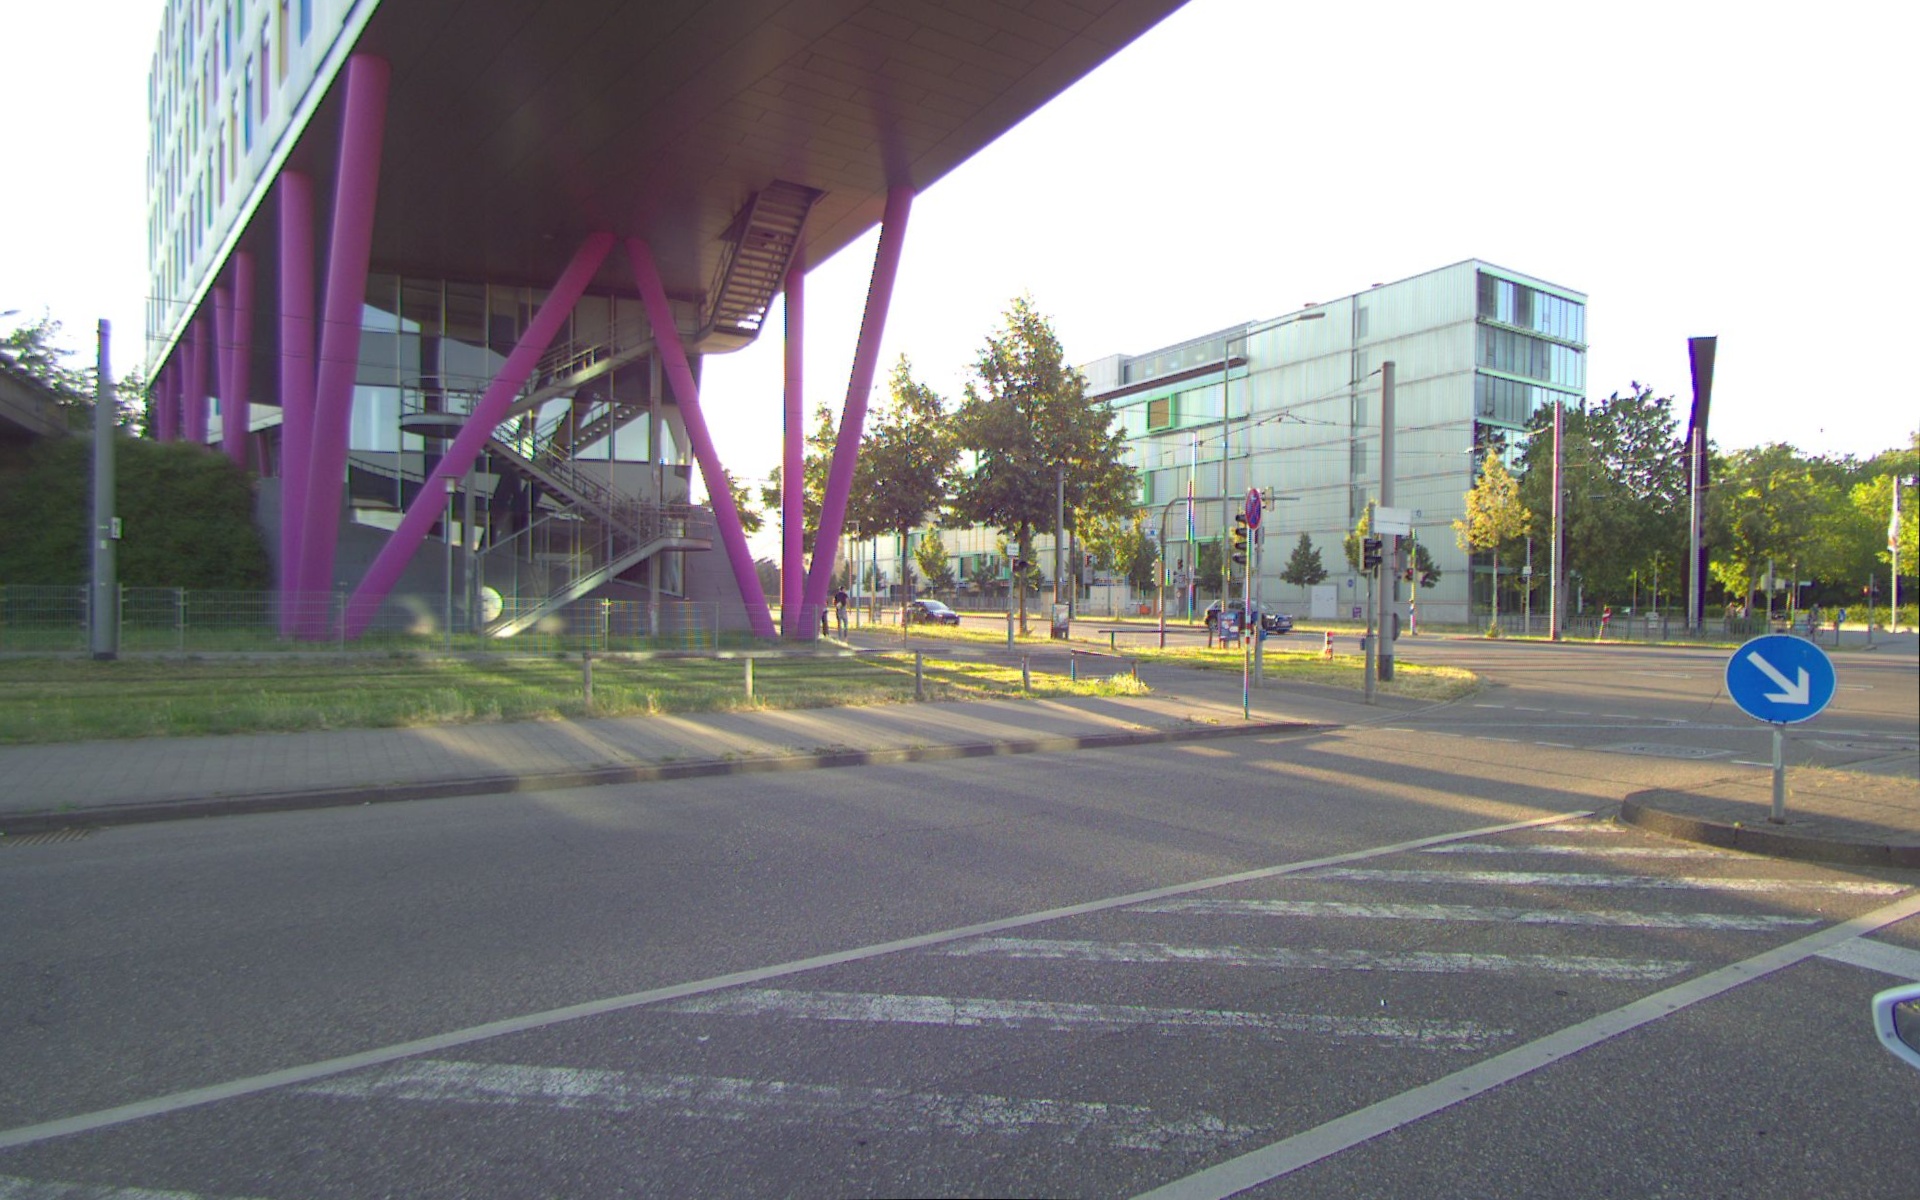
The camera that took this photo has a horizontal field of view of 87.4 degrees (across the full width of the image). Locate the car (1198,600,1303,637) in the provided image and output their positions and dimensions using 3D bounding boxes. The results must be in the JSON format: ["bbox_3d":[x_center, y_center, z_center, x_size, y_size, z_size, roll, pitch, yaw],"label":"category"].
[{"bbox_3d":[13.296,0.804,46.196,1.968,1.577,4.448,1,0,-34],"label":"car"}]

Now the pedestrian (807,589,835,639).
[{"bbox_3d":[-4.961,0.511,35.808,0.753,1.727,0.882,1,-2,-24],"label":"pedestrian"}]

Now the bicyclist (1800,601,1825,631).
[{"bbox_3d":[50.054,0.950,58.983,0.738,1.732,0.920,1,0,13],"label":"bicyclist"}]

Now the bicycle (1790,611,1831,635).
[{"bbox_3d":[50.145,1.312,59.259,0.717,1.359,2.692,1,0,13],"label":"bicycle"}]

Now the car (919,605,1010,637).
[{"bbox_3d":[0.171,1.050,52.227,1.972,1.531,4.965,1,0,-40],"label":"car"}]

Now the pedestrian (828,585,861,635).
[{"bbox_3d":[-4.143,0.365,36.089,0.921,1.747,0.877,1,-2,-28],"label":"pedestrian"}]

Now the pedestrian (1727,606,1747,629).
[{"bbox_3d":[58.523,1.312,75.627,0.814,1.767,0.862,1,0,-2],"label":"pedestrian"}]

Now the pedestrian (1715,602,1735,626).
[{"bbox_3d":[57.677,1.029,75.702,0.814,1.767,0.863,1,0,0],"label":"pedestrian"}]
